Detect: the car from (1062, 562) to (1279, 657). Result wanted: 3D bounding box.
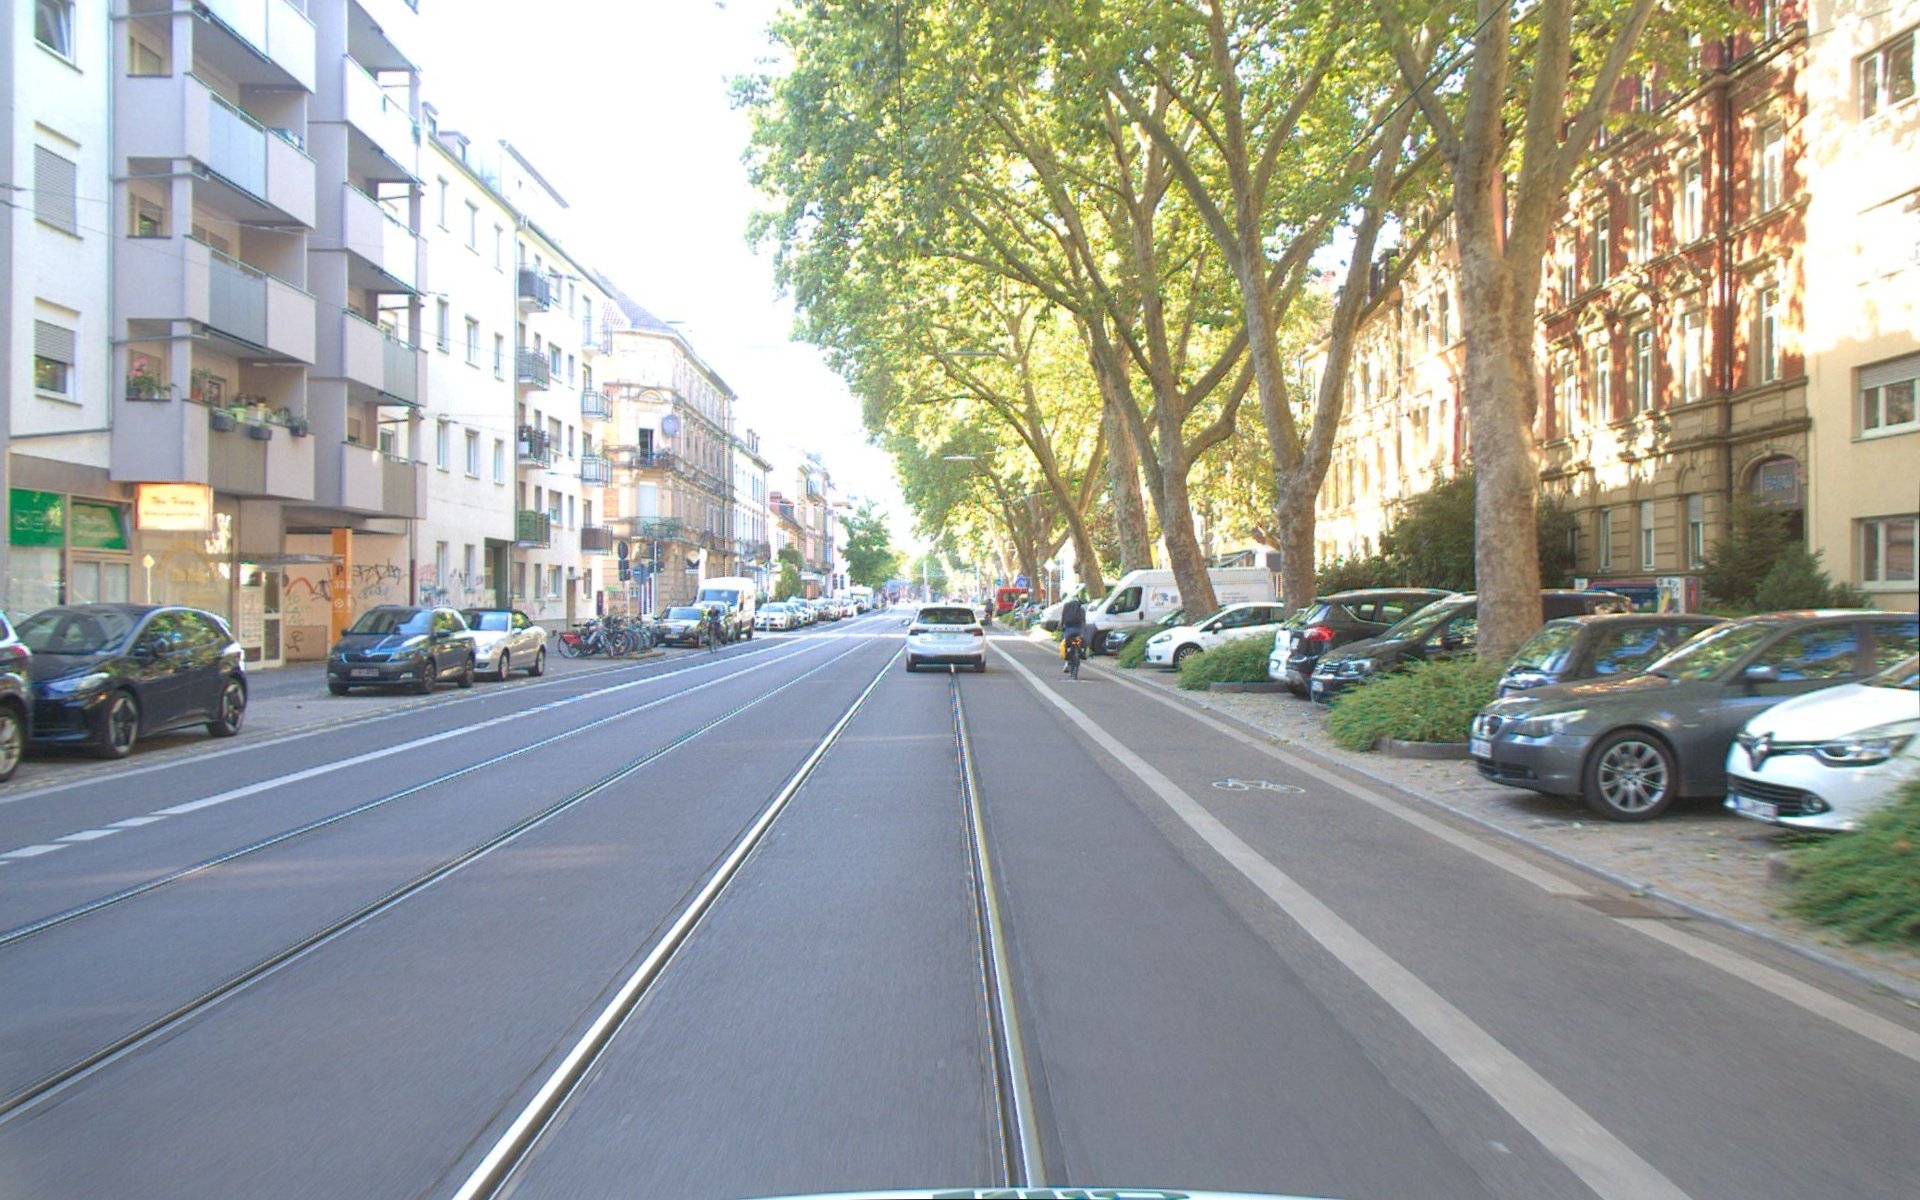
[{"bbox_3d":[6.107,0.270,48.537,6.007,2.681,2.528,0,0,-3],"label":"car"}]

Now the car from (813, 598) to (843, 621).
[{"bbox_3d":[-10.044,0.720,126.187,1.953,1.669,3.999,1,-1,-1],"label":"car"}]

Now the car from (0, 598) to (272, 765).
[{"bbox_3d":[-9.355,0.799,18.324,1.668,1.571,4.241,2,0,-1],"label":"car"}]

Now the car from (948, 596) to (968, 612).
[{"bbox_3d":[-0.192,0.357,152.829,1.725,1.501,4.000,0,0,0],"label":"car"}]

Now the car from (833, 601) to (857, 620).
[{"bbox_3d":[-10.567,0.962,152.005,1.953,1.669,3.999,1,-1,-1],"label":"car"}]

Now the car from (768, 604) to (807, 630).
[{"bbox_3d":[-10.336,1.009,99.334,1.953,1.557,3.999,0,0,-1],"label":"car"}]

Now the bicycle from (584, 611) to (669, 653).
[{"bbox_3d":[-10.218,0.998,50.759,2.476,1.193,0.718,2,-2,-7],"label":"bicycle"}]

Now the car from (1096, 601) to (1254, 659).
[{"bbox_3d":[5.908,0.812,45.698,3.972,1.567,1.997,0,0,-7],"label":"car"}]

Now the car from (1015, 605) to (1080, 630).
[{"bbox_3d":[5.442,1.085,103.159,3.967,1.567,2.000,0,0,-1],"label":"car"}]

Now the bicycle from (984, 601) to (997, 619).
[{"bbox_3d":[1.865,0.634,101.210,0.636,1.089,1.582,0,0,-3],"label":"bicycle"}]

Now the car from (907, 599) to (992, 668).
[{"bbox_3d":[-0.228,0.689,35.821,1.725,1.408,3.999,0,0,0],"label":"car"}]

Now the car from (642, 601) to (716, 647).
[{"bbox_3d":[-9.823,0.826,58.138,1.953,1.557,3.999,0,0,-1],"label":"car"}]

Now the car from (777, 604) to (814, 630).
[{"bbox_3d":[-10.315,1.056,104.143,1.953,1.557,3.999,0,0,-1],"label":"car"}]

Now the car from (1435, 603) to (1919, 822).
[{"bbox_3d":[5.971,0.799,12.752,4.059,1.540,1.930,0,0,-2],"label":"car"}]

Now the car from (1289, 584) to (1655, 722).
[{"bbox_3d":[6.524,0.650,21.371,4.149,1.695,1.847,0,0,-2],"label":"car"}]

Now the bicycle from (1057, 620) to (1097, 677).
[{"bbox_3d":[2.347,0.967,33.267,0.667,1.089,1.780,0,0,0],"label":"bicycle"}]

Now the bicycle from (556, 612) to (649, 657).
[{"bbox_3d":[-10.133,0.989,46.983,2.477,1.193,0.718,2,-2,-7],"label":"bicycle"}]

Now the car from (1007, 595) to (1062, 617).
[{"bbox_3d":[5.527,0.434,122.677,3.967,1.567,2.000,0,0,-1],"label":"car"}]

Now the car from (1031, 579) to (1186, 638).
[{"bbox_3d":[5.992,0.334,67.154,6.007,2.322,2.528,0,0,-3],"label":"car"}]

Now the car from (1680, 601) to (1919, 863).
[{"bbox_3d":[6.966,0.756,10.516,3.954,1.505,1.923,0,0,-1],"label":"car"}]

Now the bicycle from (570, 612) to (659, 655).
[{"bbox_3d":[-10.196,0.988,48.856,2.476,1.193,0.718,2,-2,-6],"label":"bicycle"}]

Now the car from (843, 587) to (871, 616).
[{"bbox_3d":[-11.953,0.195,192.721,2.907,3.211,5.846,1,-1,-1],"label":"car"}]

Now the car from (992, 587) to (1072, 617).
[{"bbox_3d":[5.519,0.167,127.371,6.007,2.322,2.528,0,0,-3],"label":"car"}]

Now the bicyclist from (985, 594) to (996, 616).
[{"bbox_3d":[1.861,0.310,101.152,0.636,1.367,0.934,0,0,-3],"label":"bicyclist"}]

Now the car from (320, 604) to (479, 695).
[{"bbox_3d":[-9.717,0.814,28.955,1.620,1.462,3.835,0,0,-2],"label":"car"}]

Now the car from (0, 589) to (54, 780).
[{"bbox_3d":[-9.276,0.723,13.344,1.668,1.679,4.240,2,0,-2],"label":"car"}]

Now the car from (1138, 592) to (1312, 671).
[{"bbox_3d":[5.764,0.670,36.276,3.559,1.695,1.822,0,0,1],"label":"car"}]

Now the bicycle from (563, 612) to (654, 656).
[{"bbox_3d":[-10.159,0.990,47.869,2.476,1.193,0.718,2,-2,-6],"label":"bicycle"}]

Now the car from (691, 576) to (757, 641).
[{"bbox_3d":[-9.915,0.345,69.864,2.134,2.642,4.948,0,0,-1],"label":"car"}]

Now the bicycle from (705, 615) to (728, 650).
[{"bbox_3d":[-7.885,1.038,53.532,0.593,1.089,1.582,0,0,-3],"label":"bicycle"}]

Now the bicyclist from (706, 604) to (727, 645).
[{"bbox_3d":[-7.879,0.798,53.491,0.585,1.308,0.916,0,0,-4],"label":"bicyclist"}]

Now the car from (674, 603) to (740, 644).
[{"bbox_3d":[-9.742,0.877,63.920,1.953,1.557,3.999,0,0,-1],"label":"car"}]

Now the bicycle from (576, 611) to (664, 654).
[{"bbox_3d":[-10.210,0.989,49.706,2.476,1.193,0.718,2,-2,-6],"label":"bicycle"}]

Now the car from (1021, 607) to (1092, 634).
[{"bbox_3d":[5.622,1.204,96.613,3.967,1.567,2.000,0,0,-1],"label":"car"}]

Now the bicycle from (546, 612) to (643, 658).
[{"bbox_3d":[-10.183,0.983,46.100,2.510,1.193,0.870,3,-2,-41],"label":"bicycle"}]

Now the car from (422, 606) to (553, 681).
[{"bbox_3d":[-9.626,0.847,33.954,1.454,1.428,3.991,0,0,1],"label":"car"}]

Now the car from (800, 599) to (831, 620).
[{"bbox_3d":[-10.421,0.677,119.492,1.953,1.557,3.999,0,0,-1],"label":"car"}]

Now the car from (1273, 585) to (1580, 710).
[{"bbox_3d":[6.603,0.657,23.678,3.906,1.709,1.723,0,0,-2],"label":"car"}]

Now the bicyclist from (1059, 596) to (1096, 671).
[{"bbox_3d":[2.347,0.666,33.188,0.664,1.468,1.047,0,0,0],"label":"bicyclist"}]

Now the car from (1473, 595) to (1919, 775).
[{"bbox_3d":[6.947,0.730,15.210,3.906,1.540,1.760,0,0,-2],"label":"car"}]

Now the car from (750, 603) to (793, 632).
[{"bbox_3d":[-10.244,0.921,90.183,1.953,1.557,3.999,0,0,-1],"label":"car"}]
